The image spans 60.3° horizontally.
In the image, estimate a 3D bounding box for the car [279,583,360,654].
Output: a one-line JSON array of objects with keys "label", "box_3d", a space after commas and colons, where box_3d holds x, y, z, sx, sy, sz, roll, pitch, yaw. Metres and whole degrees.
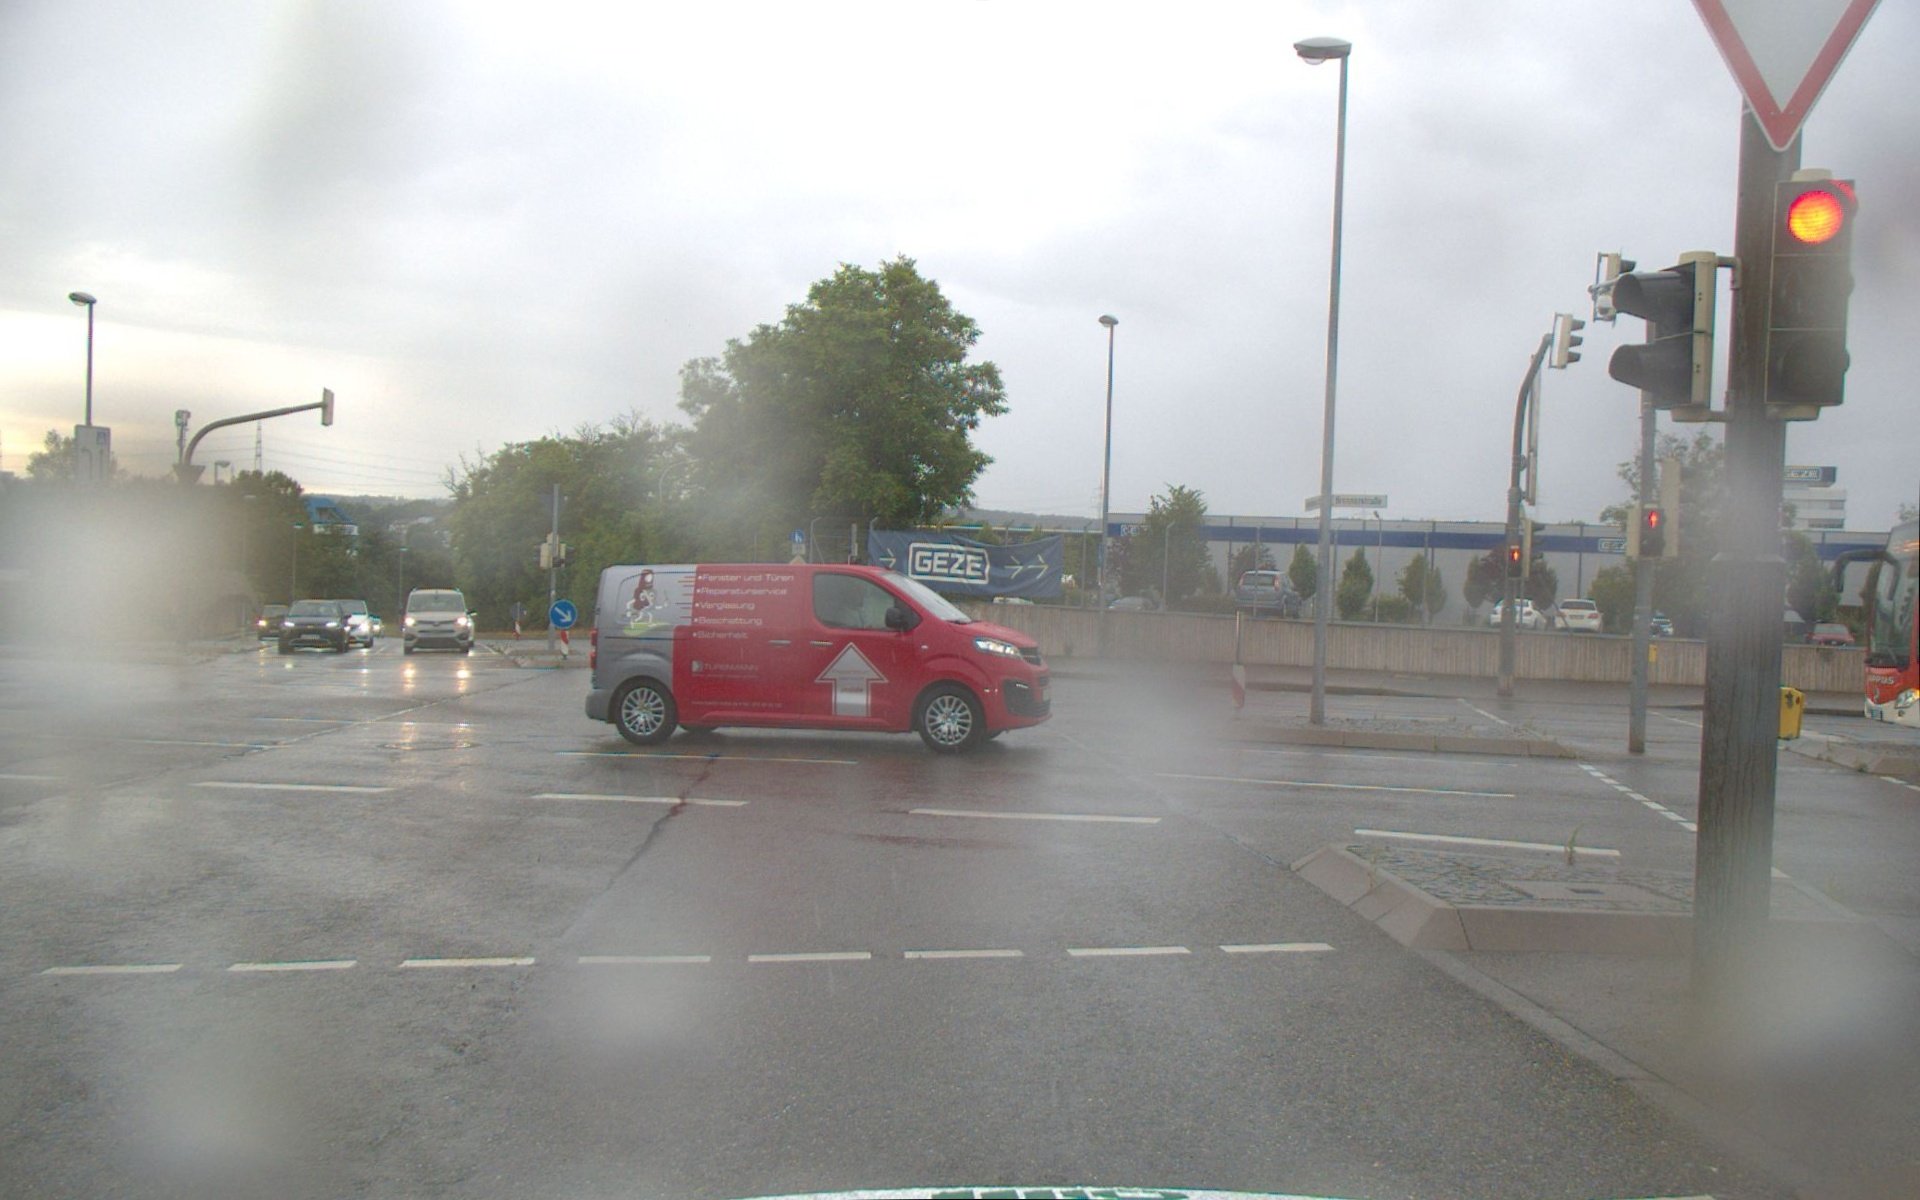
[{"label": "car", "box_3d": [-18.485, 0.504, 47.889, 1.963, 1.928, 3.979, 1, 1, -19]}]

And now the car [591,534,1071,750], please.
[{"label": "car", "box_3d": [-1.291, 0.389, 17.518, 4.670, 2.049, 2.002, 1, 0, 12]}]

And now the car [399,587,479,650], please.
[{"label": "car", "box_3d": [-14.885, 0.505, 47.393, 1.961, 1.646, 3.984, 1, 1, -15]}]

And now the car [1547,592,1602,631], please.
[{"label": "car", "box_3d": [25.253, 0.463, 68.070, 1.952, 1.504, 4.001, 2, 1, 19]}]

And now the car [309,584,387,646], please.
[{"label": "car", "box_3d": [-20.345, 0.467, 55.107, 1.960, 1.928, 3.985, 1, 0, -14]}]

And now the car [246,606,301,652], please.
[{"label": "car", "box_3d": [-31.519, 1.302, 76.034, 1.962, 1.928, 3.981, 1, 1, -18]}]

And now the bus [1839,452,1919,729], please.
[{"label": "bus", "box_3d": [17.678, 0.150, 19.934, 12.020, 3.379, 3.076, 3, 1, 17]}]

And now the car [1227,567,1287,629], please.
[{"label": "car", "box_3d": [10.390, -0.060, 57.854, 1.951, 2.049, 4.003, 1, 0, 11]}]

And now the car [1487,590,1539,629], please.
[{"label": "car", "box_3d": [22.956, 0.394, 68.658, 1.952, 1.504, 4.001, 2, 1, 19]}]
